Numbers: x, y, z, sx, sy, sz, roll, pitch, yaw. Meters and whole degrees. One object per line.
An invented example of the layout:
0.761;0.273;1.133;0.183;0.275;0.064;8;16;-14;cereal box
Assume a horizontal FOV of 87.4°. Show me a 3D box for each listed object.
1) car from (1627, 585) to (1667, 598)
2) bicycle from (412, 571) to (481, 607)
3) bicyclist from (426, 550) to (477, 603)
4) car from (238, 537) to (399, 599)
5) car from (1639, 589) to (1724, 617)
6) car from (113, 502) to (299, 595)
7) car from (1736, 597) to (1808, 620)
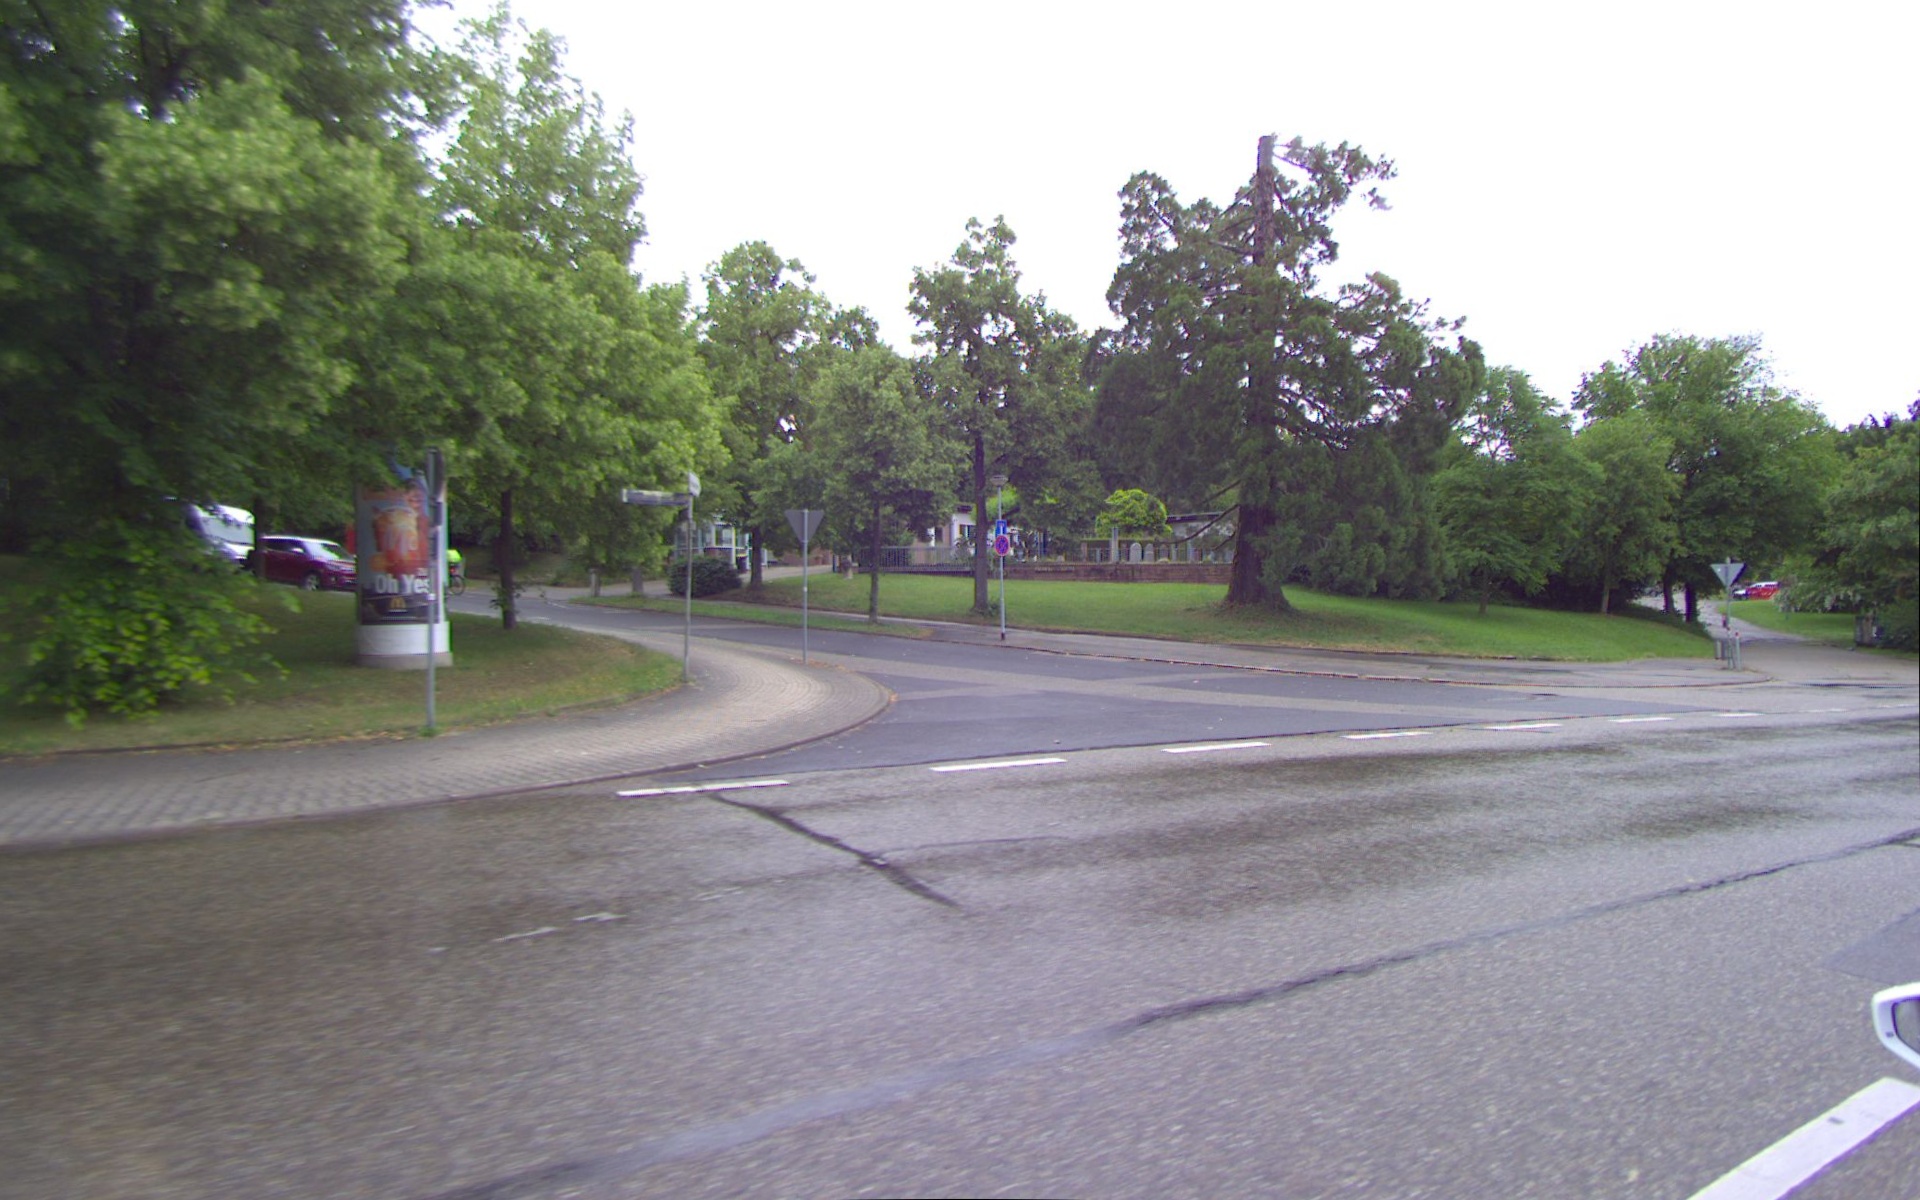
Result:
84.767;-1.057;123.991;3.931;1.403;1.723;3;2;32;car
-17.966;-0.385;35.154;1.996;1.170;0.855;2;-2;13;bicycle
-17.769;-0.815;35.123;1.260;1.778;0.855;2;-2;13;bicyclist
-19.049;-0.937;29.873;3.920;1.690;1.978;2;1;18;car
42.290;0.157;58.875;3.853;1.506;1.925;1;-1;42;car
-23.916;-1.609;31.836;5.560;2.735;2.156;2;1;23;car
57.408;0.597;71.067;3.853;1.506;1.925;1;-1;42;car
